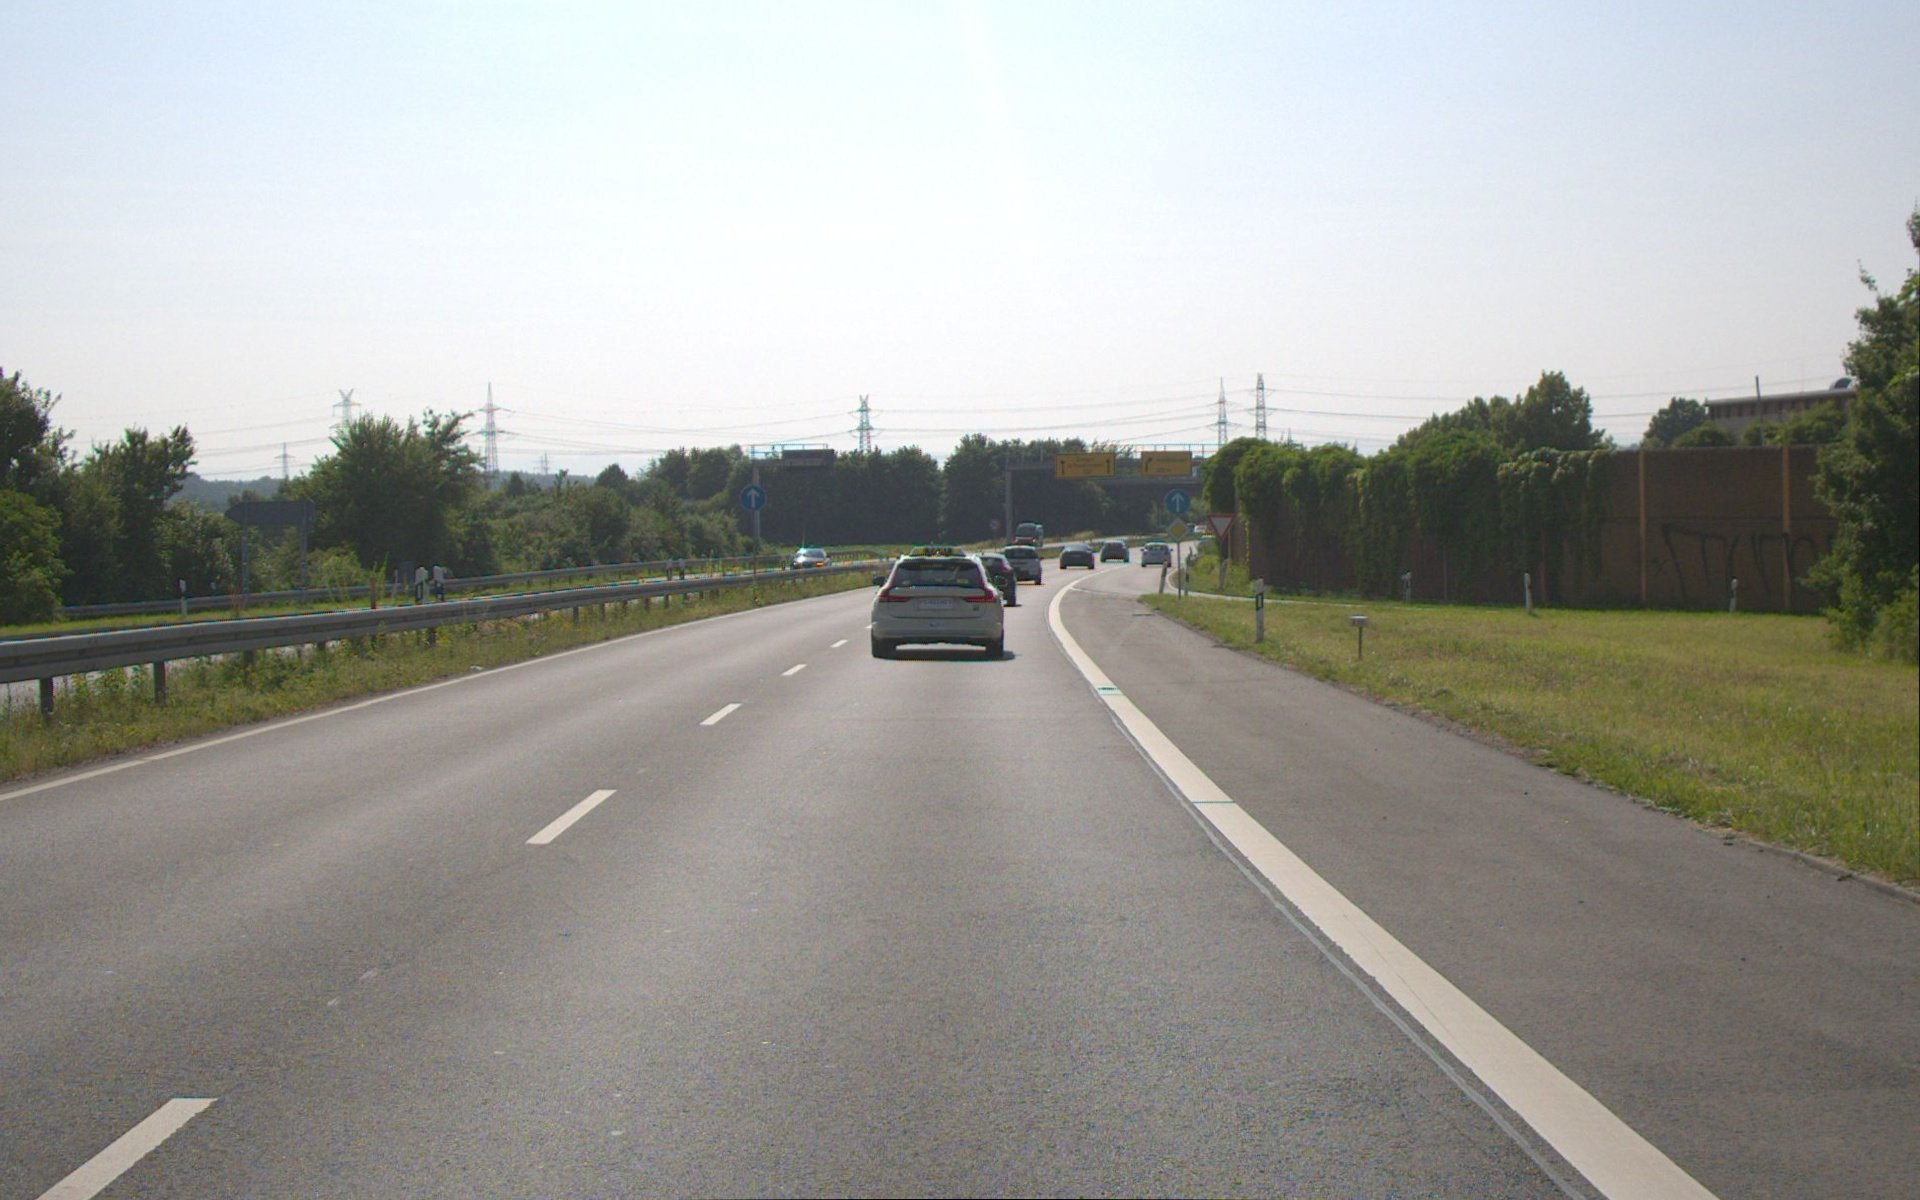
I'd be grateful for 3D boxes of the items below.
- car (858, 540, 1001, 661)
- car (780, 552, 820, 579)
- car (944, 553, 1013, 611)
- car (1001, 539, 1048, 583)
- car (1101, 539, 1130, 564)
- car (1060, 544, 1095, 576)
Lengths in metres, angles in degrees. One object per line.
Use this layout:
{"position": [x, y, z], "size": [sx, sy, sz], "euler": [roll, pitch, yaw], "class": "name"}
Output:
{"position": [-0.431, -0.025, 49.631], "size": [1.958, 1.596, 4.107], "euler": [1, 2, 0], "class": "car"}
{"position": [-8.487, -1.834, 182.749], "size": [1.809, 1.347, 4.274], "euler": [1, 2, 2], "class": "car"}
{"position": [0.526, -0.507, 93.881], "size": [1.793, 1.538, 3.672], "euler": [0, 1, 2], "class": "car"}
{"position": [2.591, -1.566, 137.742], "size": [1.769, 1.730, 3.632], "euler": [0, 1, 3], "class": "car"}
{"position": [10.706, -3.306, 236.107], "size": [1.841, 1.692, 3.999], "euler": [0, 1, 5], "class": "car"}
{"position": [6.679, -2.277, 195.644], "size": [1.841, 1.796, 4.000], "euler": [0, 1, 4], "class": "car"}
